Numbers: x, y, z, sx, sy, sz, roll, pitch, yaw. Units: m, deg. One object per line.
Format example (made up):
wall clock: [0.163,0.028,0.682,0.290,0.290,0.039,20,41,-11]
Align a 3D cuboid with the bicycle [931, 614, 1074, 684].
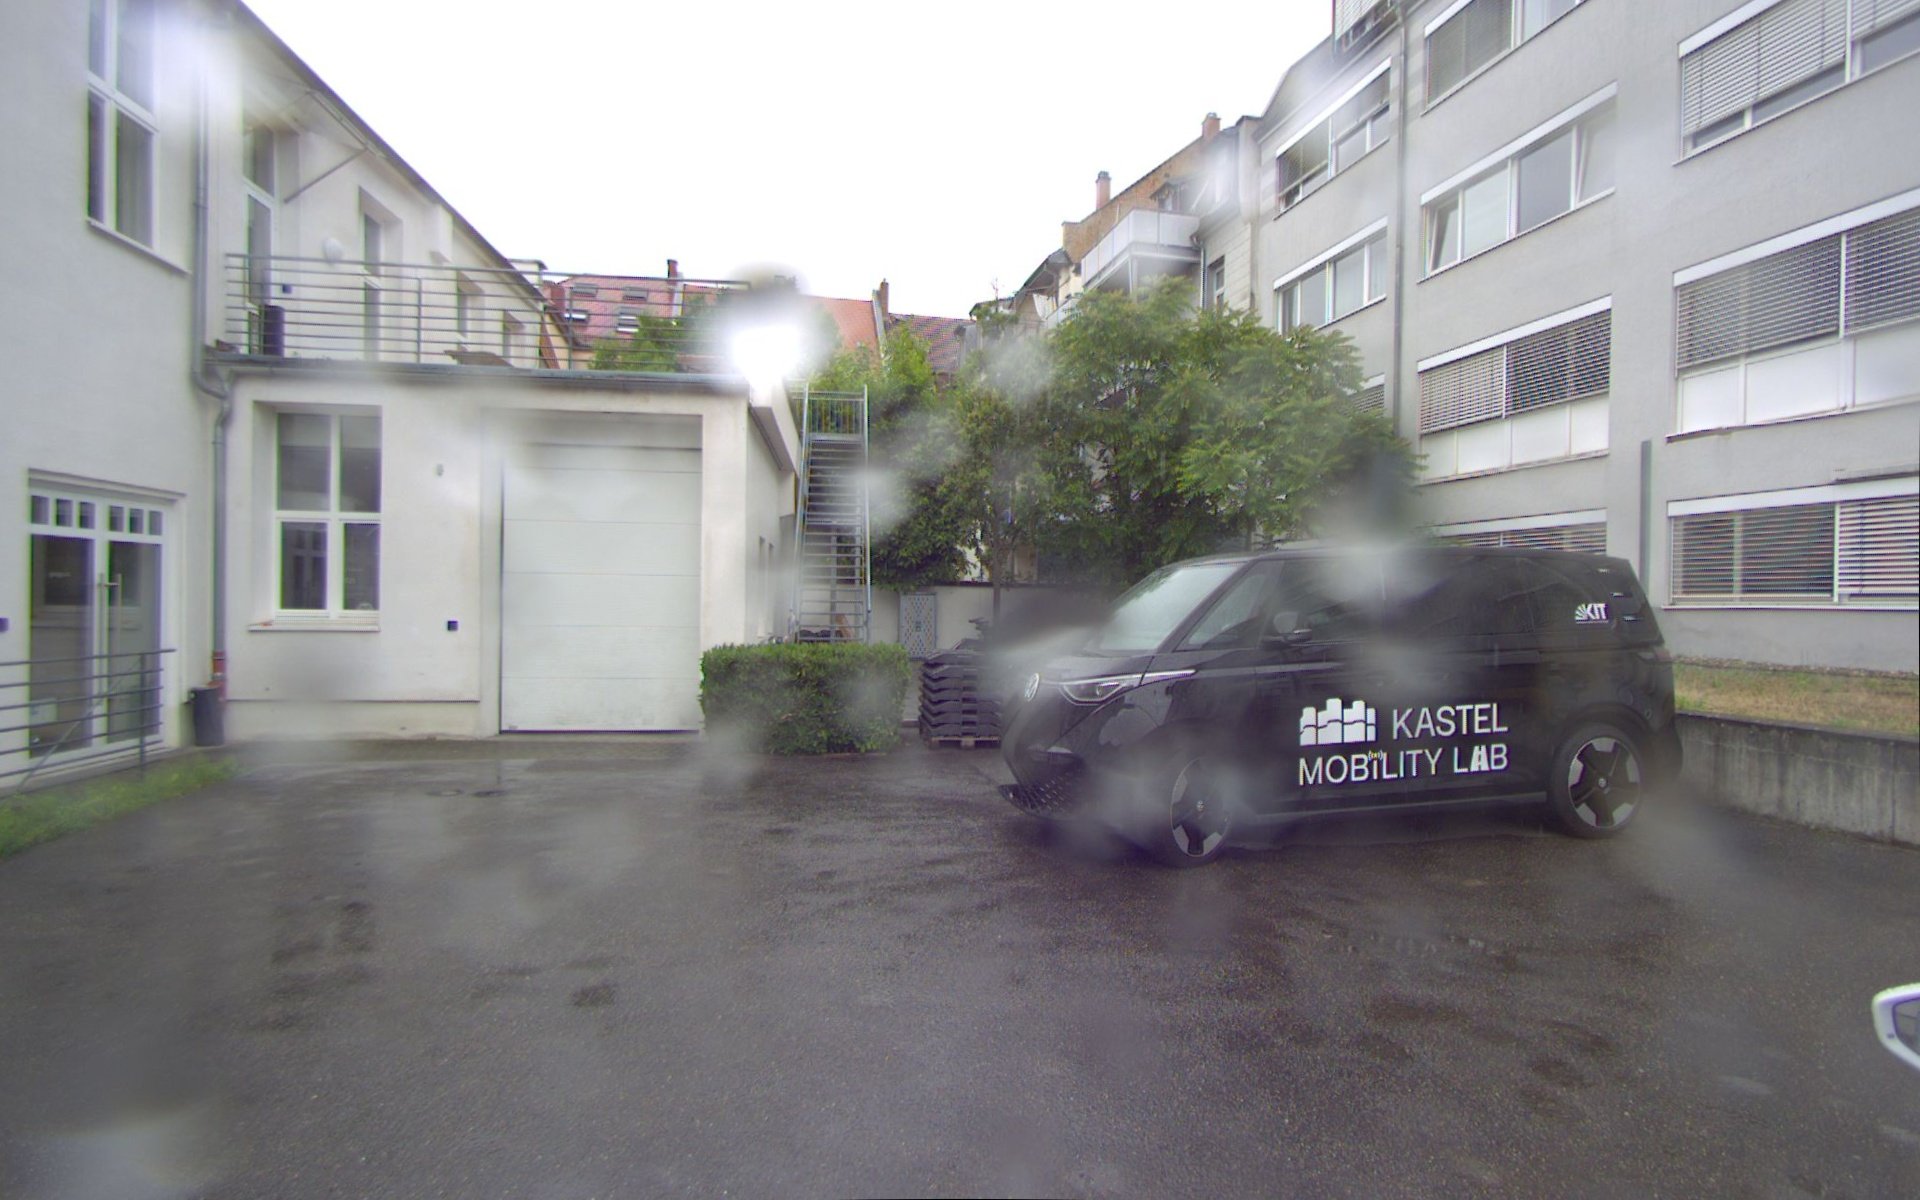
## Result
bicycle: [0.701,0.814,16.746,2.293,1.119,0.632,1,1,-8]

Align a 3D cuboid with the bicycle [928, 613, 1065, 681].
bicycle: [0.620,0.807,17.397,2.293,1.119,0.632,1,1,-8]

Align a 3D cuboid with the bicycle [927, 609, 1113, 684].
bicycle: [1.038,0.798,17.461,3.166,1.258,0.630,1,-1,-10]

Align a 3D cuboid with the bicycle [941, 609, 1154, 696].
bicycle: [1.323,0.782,15.226,3.166,1.258,0.630,1,-1,-10]

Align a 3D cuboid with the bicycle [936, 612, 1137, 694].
bicycle: [1.223,0.843,16.157,3.166,1.258,0.630,1,-1,-10]

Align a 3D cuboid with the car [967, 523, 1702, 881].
car: [2.453,0.583,6.970,4.447,1.922,2.040,1,-1,-15]

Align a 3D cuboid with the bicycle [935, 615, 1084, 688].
bicycle: [0.782,0.821,16.092,2.293,1.119,0.632,1,1,-8]

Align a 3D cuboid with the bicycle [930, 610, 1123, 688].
bicycle: [1.115,0.804,16.809,3.166,1.258,0.630,1,-1,-10]

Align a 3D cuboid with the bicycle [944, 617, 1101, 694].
bicycle: [0.930,0.831,15.226,2.293,1.119,0.632,1,1,-8]
